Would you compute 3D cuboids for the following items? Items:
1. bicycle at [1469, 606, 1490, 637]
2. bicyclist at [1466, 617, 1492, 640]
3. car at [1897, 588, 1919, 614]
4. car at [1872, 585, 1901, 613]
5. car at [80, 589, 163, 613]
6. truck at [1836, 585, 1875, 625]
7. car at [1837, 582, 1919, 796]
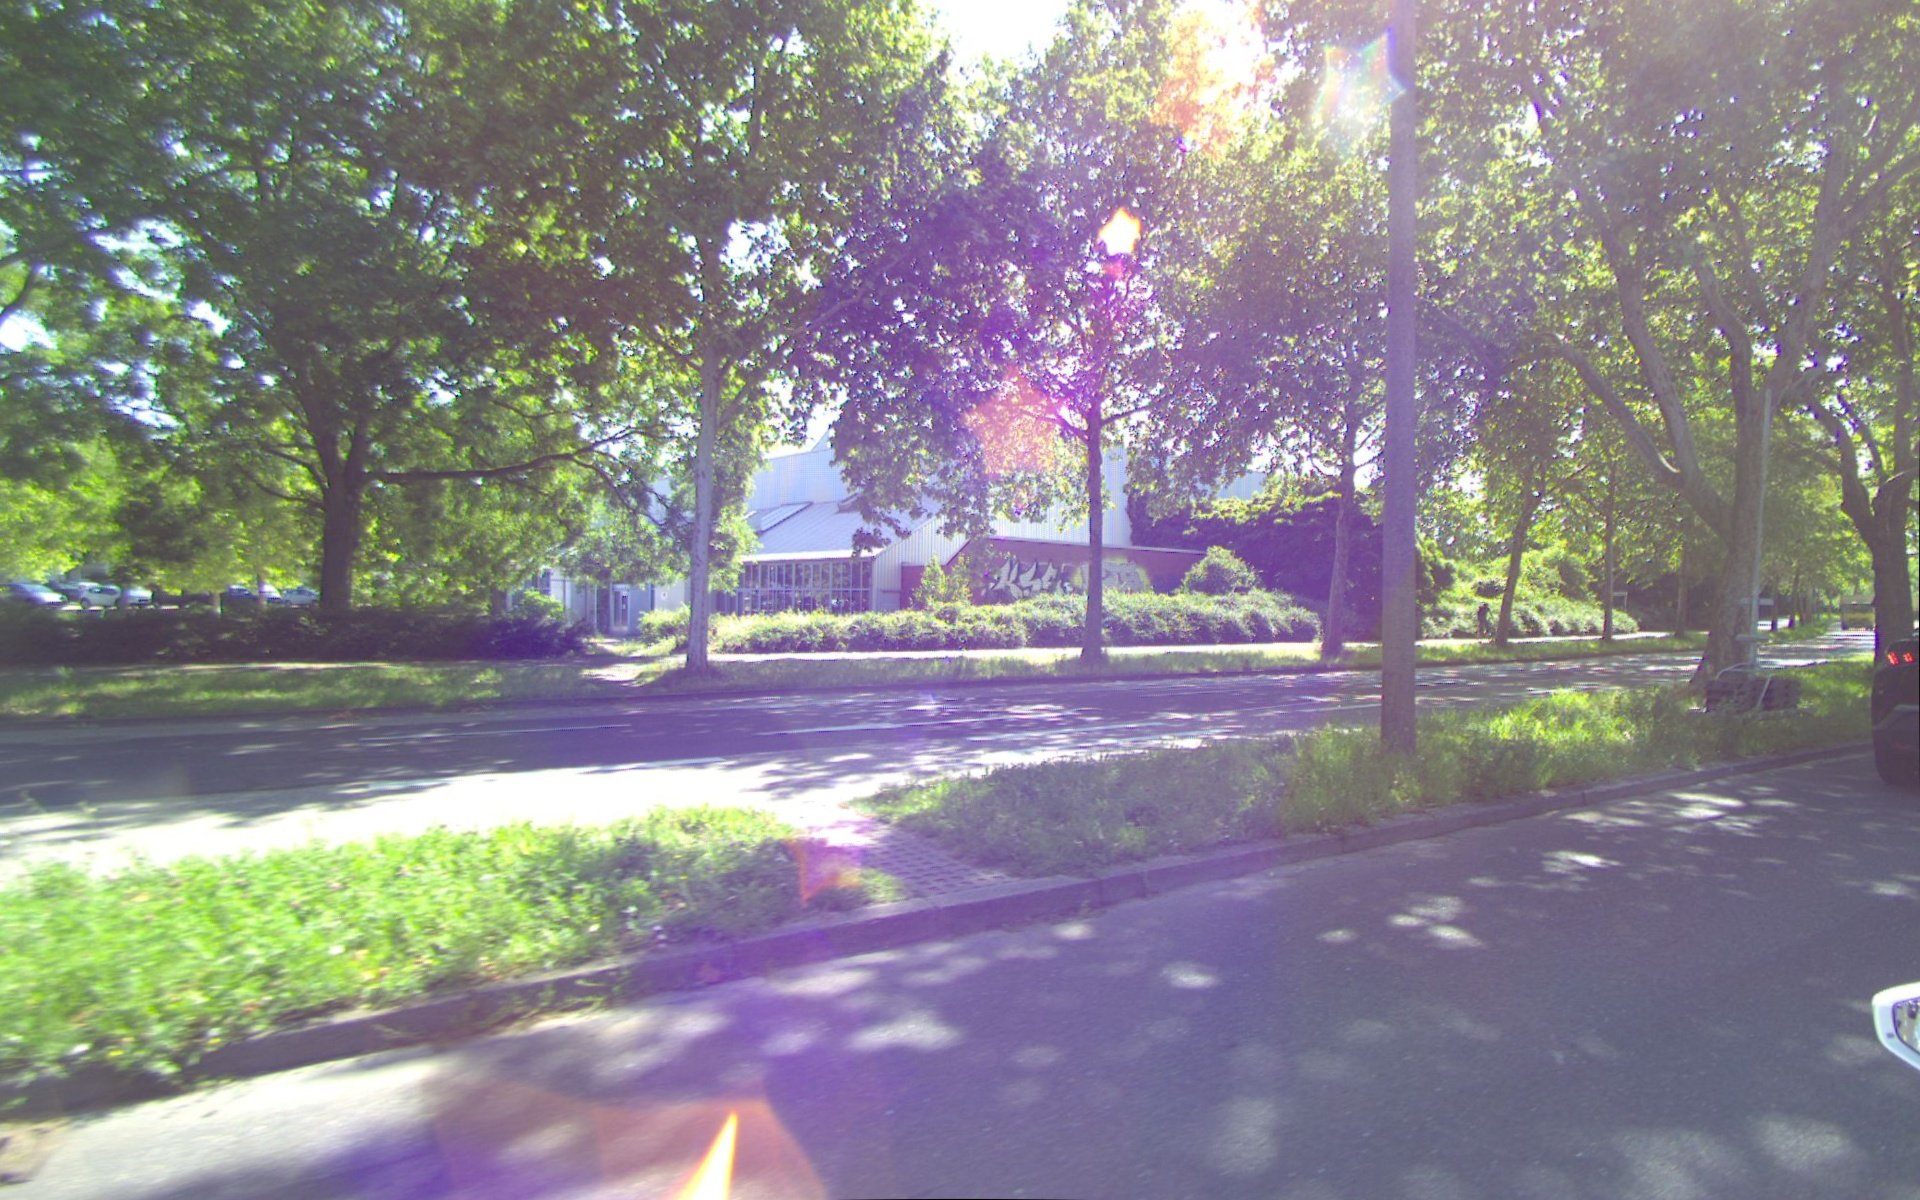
[{"bbox_3d":[23.249,0.953,44.960,0.945,1.403,0.425,0,0,-34],"label":"bicycle"},{"bbox_3d":[23.222,1.279,44.948,1.410,1.027,0.425,1,0,-34],"label":"bicyclist"},{"bbox_3d":[131.201,0.150,138.814,6.722,3.480,2.038,1,0,-44],"label":"car"},{"bbox_3d":[121.376,-0.225,131.546,2.425,3.496,7.051,3,3,45],"label":"car"},{"bbox_3d":[-54.536,0.081,65.383,3.920,1.511,1.818,1,0,3],"label":"car"},{"bbox_3d":[82.475,0.354,92.460,2.424,3.496,7.056,3,3,43],"label":"truck"},{"bbox_3d":[9.756,0.725,8.860,4.386,1.719,1.862,0,-1,-32],"label":"car"}]
